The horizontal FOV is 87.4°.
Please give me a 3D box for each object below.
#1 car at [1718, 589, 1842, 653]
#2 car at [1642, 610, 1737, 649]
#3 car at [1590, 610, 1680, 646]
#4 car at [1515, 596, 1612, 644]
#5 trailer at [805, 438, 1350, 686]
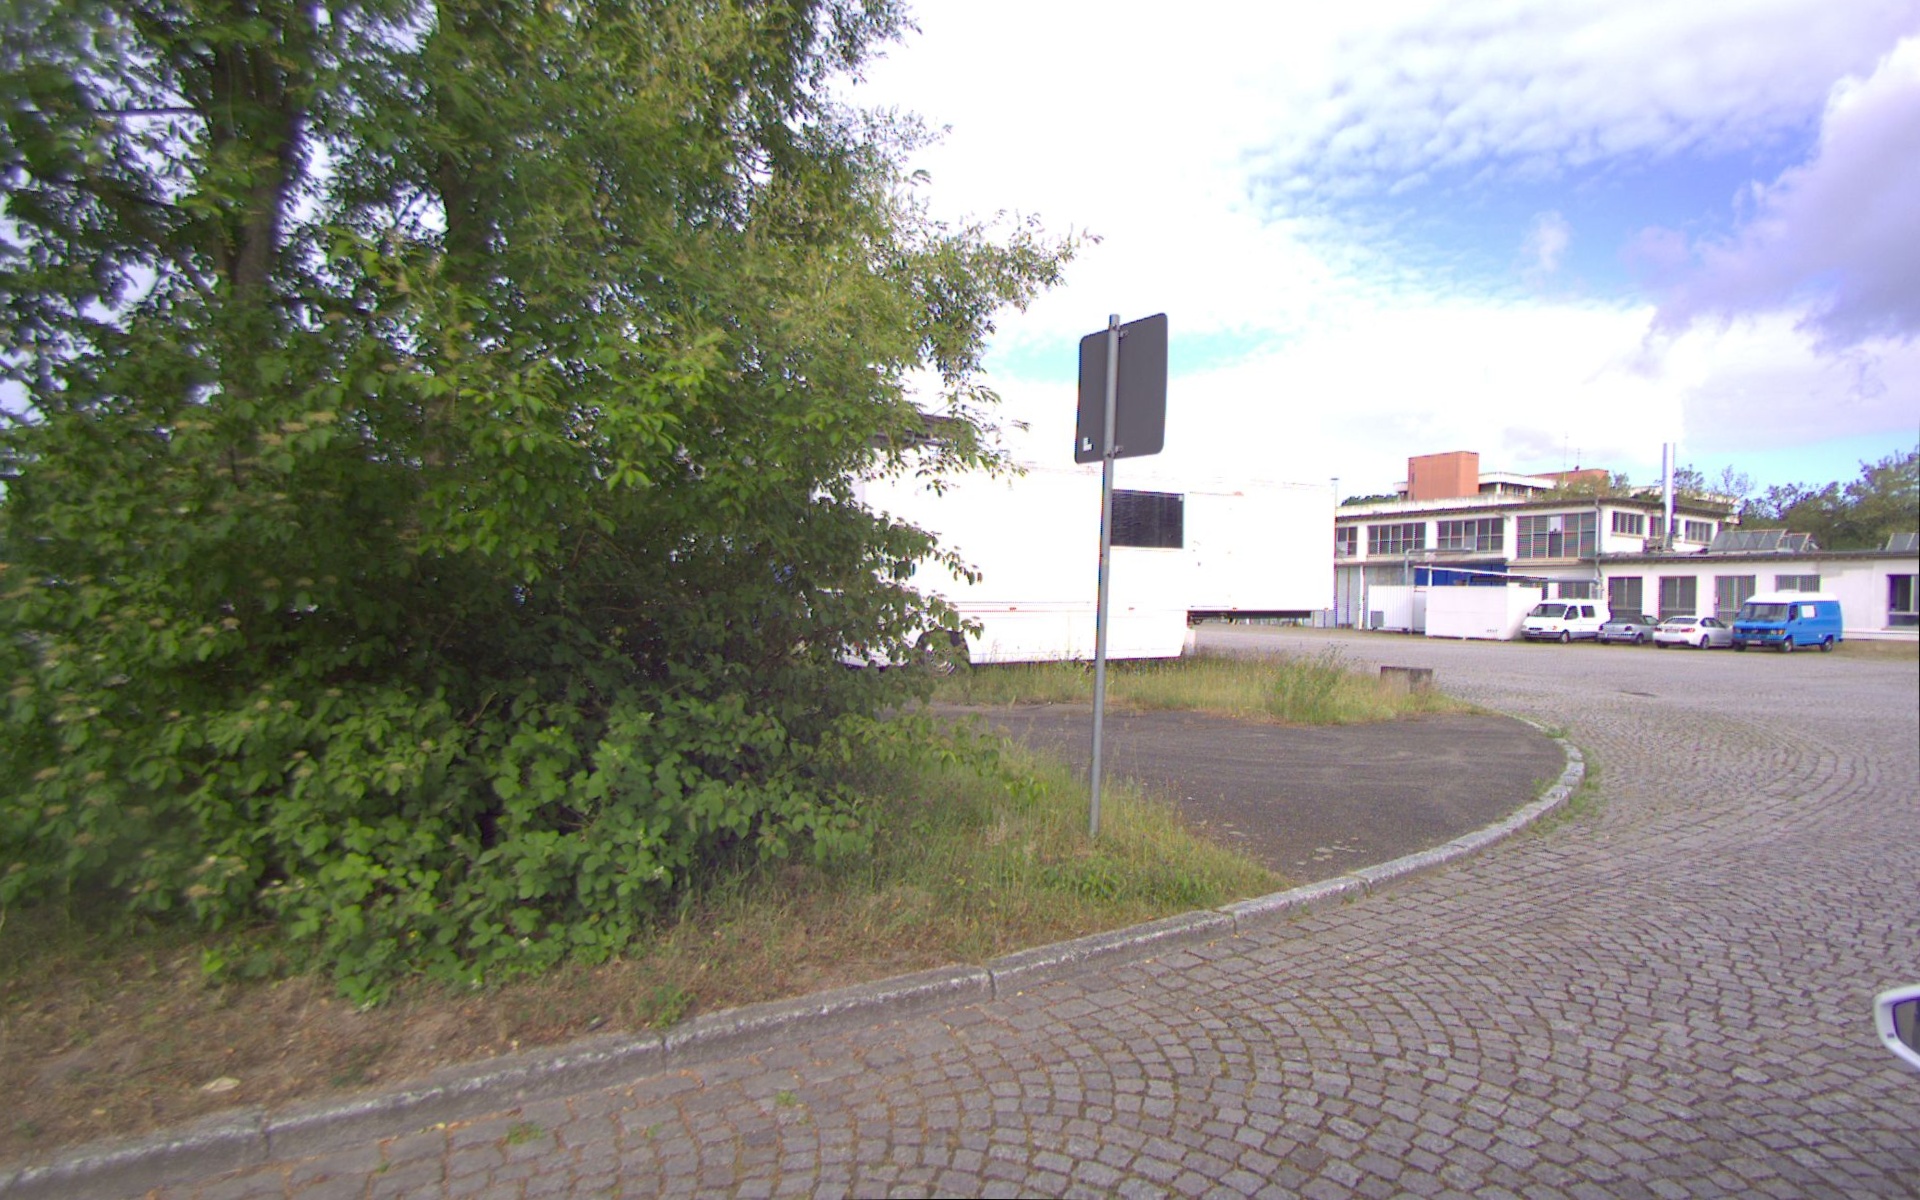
[{"bbox_3d":[34.350,0.884,42.040,5.546,2.557,1.986,1,0,-28],"label":"car"},{"bbox_3d":[31.856,1.295,43.869,3.952,1.596,1.892,1,0,-29],"label":"car"},{"bbox_3d":[31.377,1.299,46.679,3.952,1.596,1.892,1,0,-29],"label":"car"},{"bbox_3d":[29.493,0.982,49.045,4.723,2.236,1.893,1,0,-28],"label":"car"},{"bbox_3d":[2.585,-0.476,18.920,10.588,3.755,2.645,1,0,-29],"label":"trailer"}]
